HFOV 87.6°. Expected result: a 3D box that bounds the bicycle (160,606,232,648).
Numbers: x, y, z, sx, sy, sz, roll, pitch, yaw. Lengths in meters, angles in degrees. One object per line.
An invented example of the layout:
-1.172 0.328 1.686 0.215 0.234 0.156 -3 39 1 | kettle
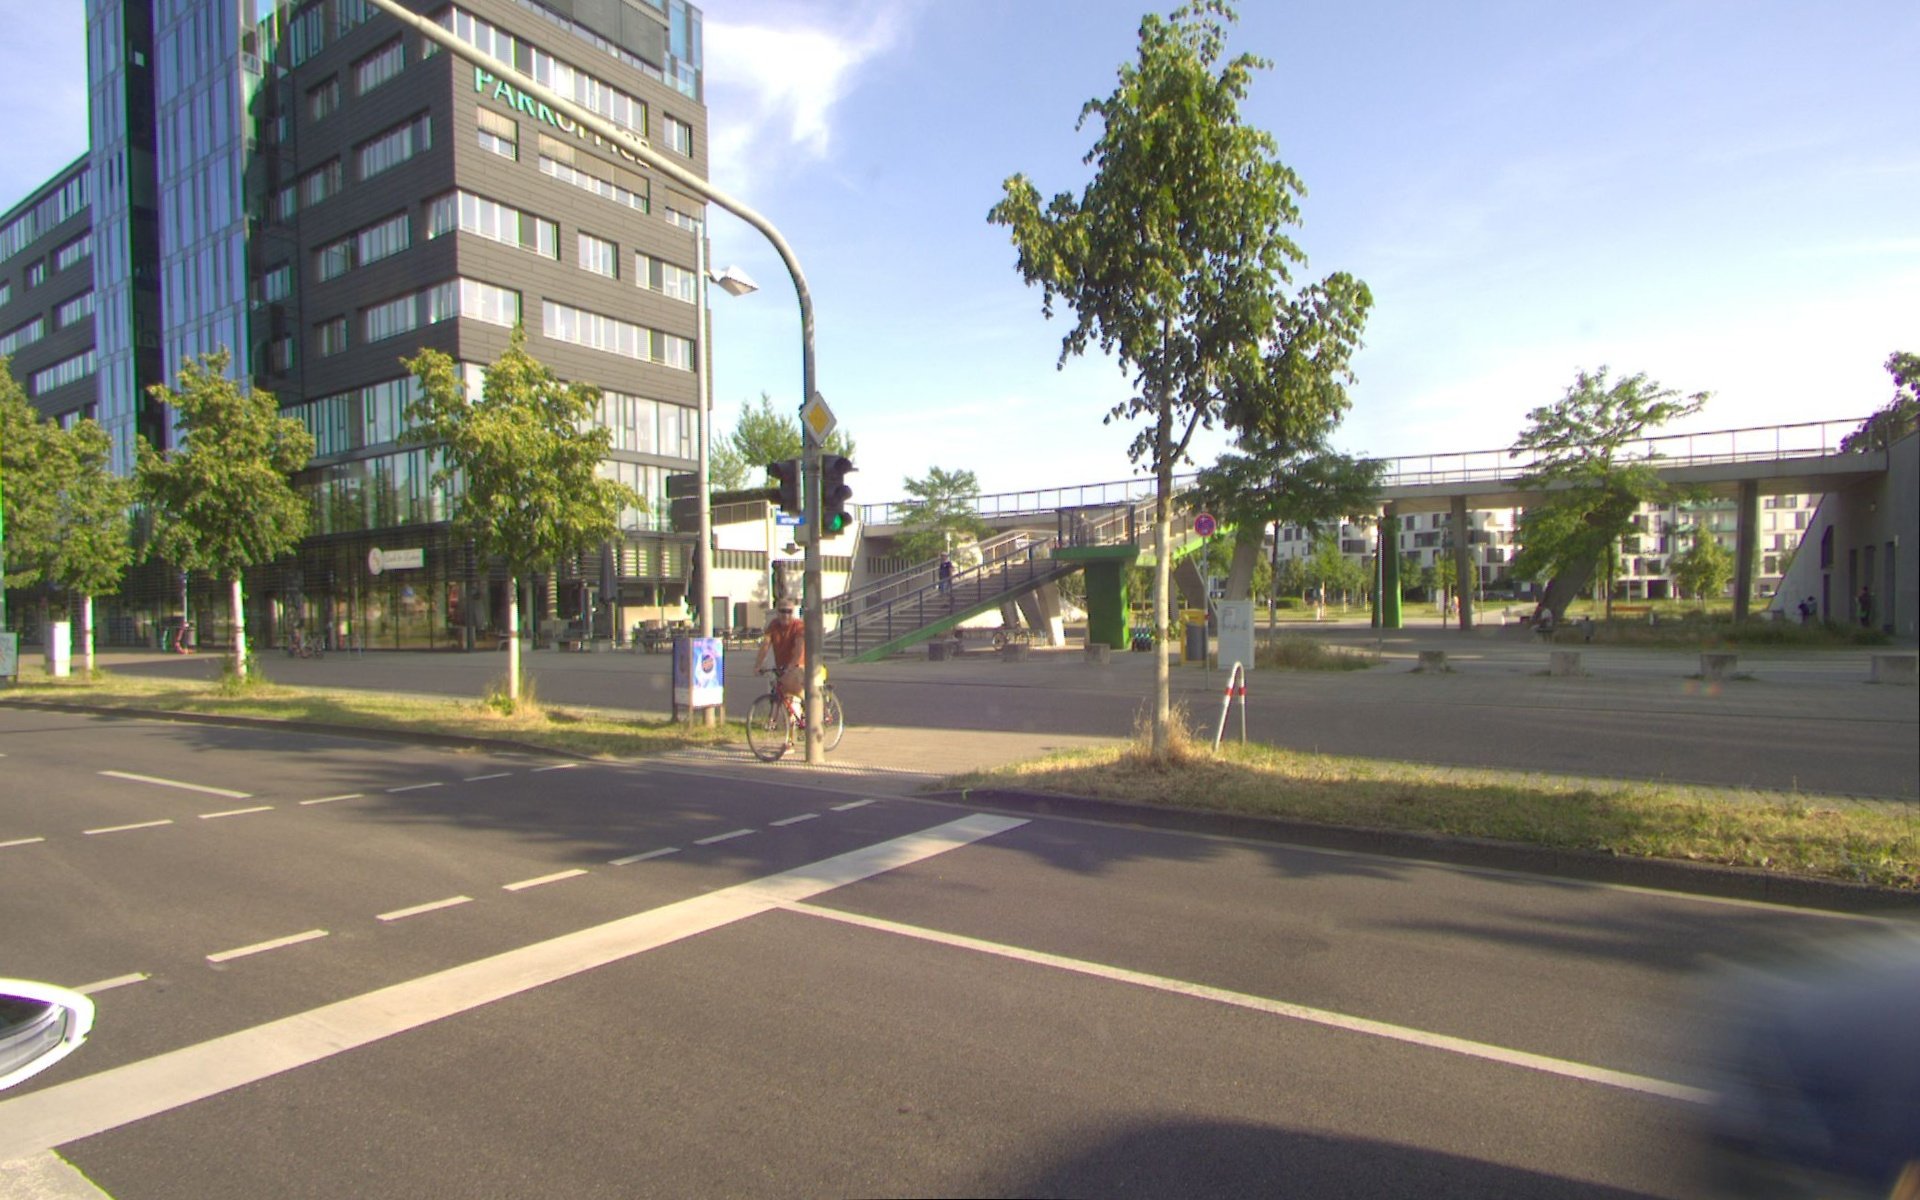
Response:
-34.998 1.250 45.886 0.563 1.881 2.551 -1 -2 42 | bicycle

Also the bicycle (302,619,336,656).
-24.057 1.402 37.562 1.868 1.363 0.372 -2 -2 34 | bicycle

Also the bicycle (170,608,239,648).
-34.221 1.263 45.383 0.548 1.768 2.422 -1 -2 42 | bicycle

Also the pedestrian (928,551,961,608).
-0.492 -0.621 31.222 0.689 1.713 0.779 1 -2 -44 | pedestrian

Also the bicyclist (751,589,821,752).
-1.912 0.763 11.035 0.532 1.728 0.574 -1 -1 29 | bicyclist

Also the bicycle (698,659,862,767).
-1.914 1.187 11.020 0.563 1.025 2.132 -1 -2 29 | bicycle

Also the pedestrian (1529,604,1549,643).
19.986 0.814 34.567 0.573 1.310 0.595 -1 -1 33 | pedestrian

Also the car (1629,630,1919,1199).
3.032 0.747 0.893 3.979 1.453 1.748 -1 -2 33 | car
